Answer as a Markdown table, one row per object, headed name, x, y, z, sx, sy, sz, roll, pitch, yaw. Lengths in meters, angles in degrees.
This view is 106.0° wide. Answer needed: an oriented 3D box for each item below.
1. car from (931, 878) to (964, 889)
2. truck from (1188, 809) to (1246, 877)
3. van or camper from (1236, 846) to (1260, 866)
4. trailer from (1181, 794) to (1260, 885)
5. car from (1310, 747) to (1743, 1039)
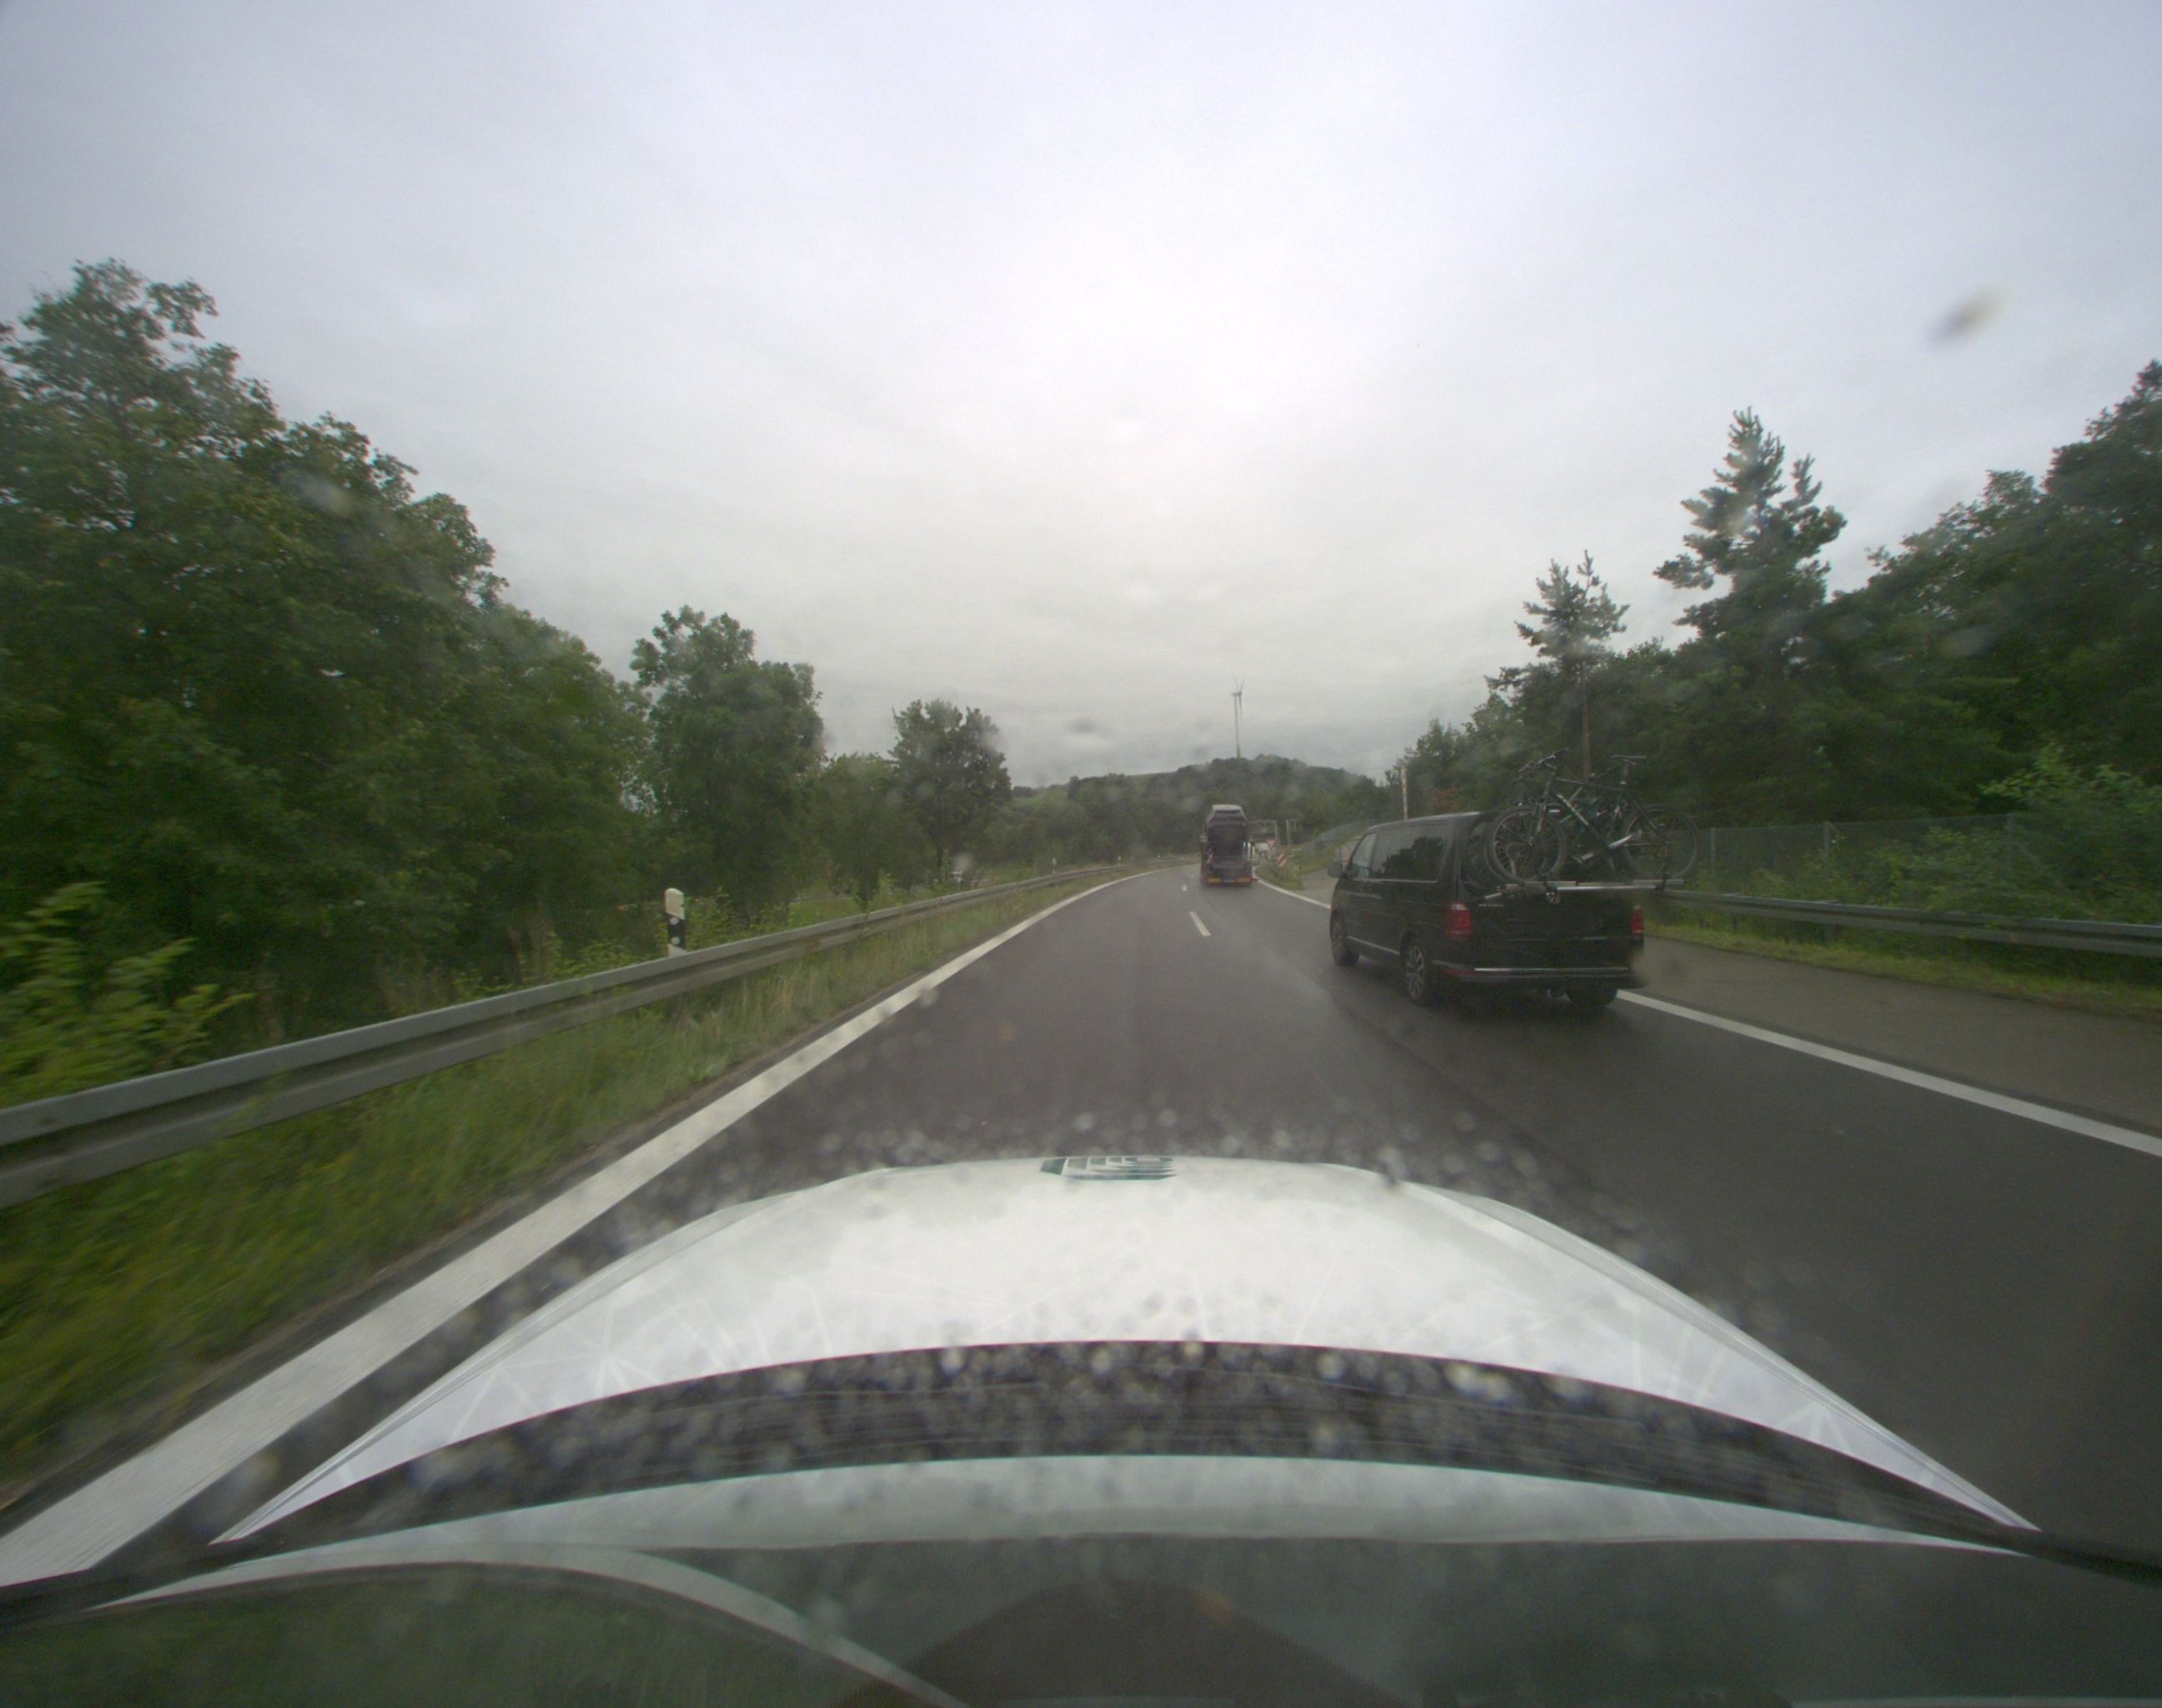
| name | x | y | z | sx | sy | sz | roll | pitch | yaw |
| --- | --- | --- | --- | --- | --- | --- | --- | --- | --- |
| car | -23.040 | 5.052 | 140.912 | 5.353 | 1.717 | 1.976 | -1 | -1 | -42 |
| truck | 8.844 | -0.640 | 53.275 | 3.375 | 3.999 | 10.873 | 0 | 0 | 9 |
| van or camper | 18.604 | 0.228 | 90.404 | 2.075 | 2.231 | 4.451 | 0 | 0 | 18 |
| trailer | 7.077 | -0.643 | 41.885 | 3.429 | 3.999 | 12.056 | 0 | 0 | 9 |
| car | 4.301 | 0.284 | 9.314 | 2.100 | 2.264 | 5.903 | 0 | 0 | 4 |
